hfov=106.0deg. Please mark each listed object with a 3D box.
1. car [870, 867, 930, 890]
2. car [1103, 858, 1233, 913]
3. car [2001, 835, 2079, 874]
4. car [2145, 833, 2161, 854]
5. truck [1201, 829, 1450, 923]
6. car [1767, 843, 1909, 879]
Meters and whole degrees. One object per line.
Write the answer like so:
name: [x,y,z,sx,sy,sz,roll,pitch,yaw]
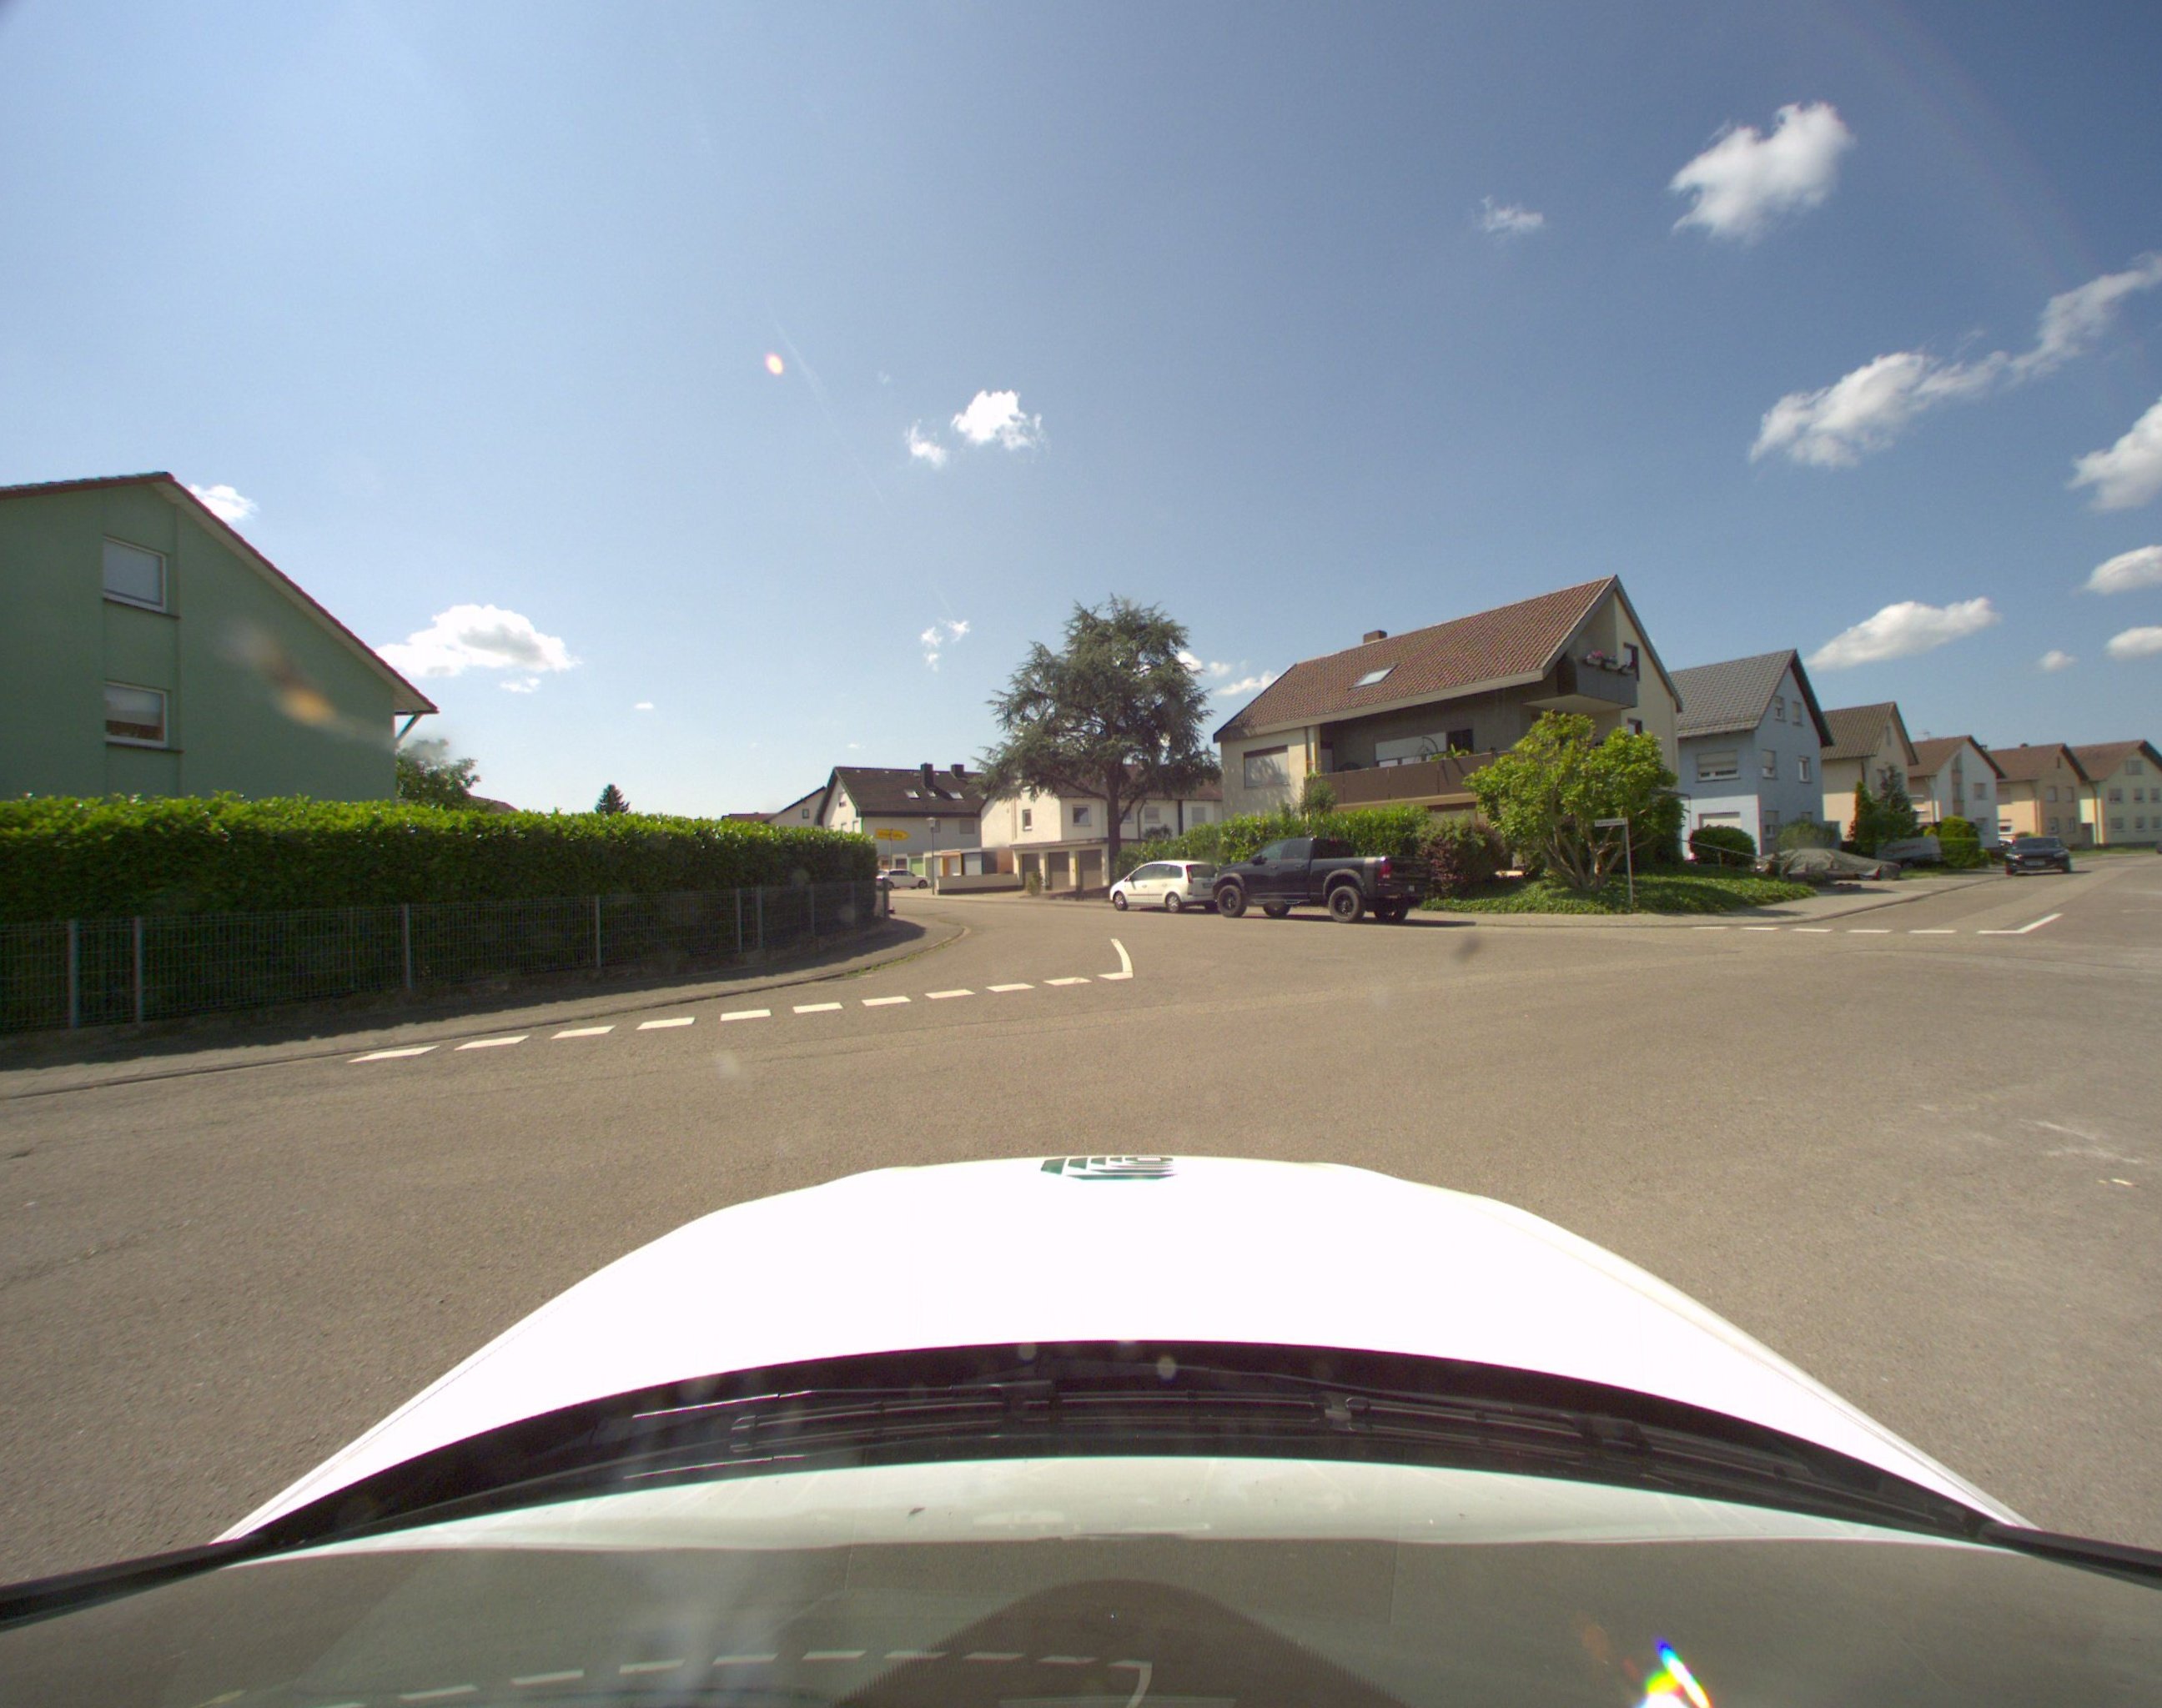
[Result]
car: [-12.410,1.680,55.844,3.626,1.408,1.765,-1,-1,-35]
car: [2.684,0.978,25.960,1.812,1.563,4.097,-1,-1,-37]
car: [41.583,0.006,35.283,4.018,1.542,1.899,-1,-1,-37]
car: [87.474,-0.873,65.073,4.002,1.650,1.954,-2,-1,-22]
truck: [5.910,0.589,20.469,2.382,2.014,5.647,2,-3,-38]
car: [31.026,0.325,33.467,2.009,1.342,3.955,-1,-1,-37]
